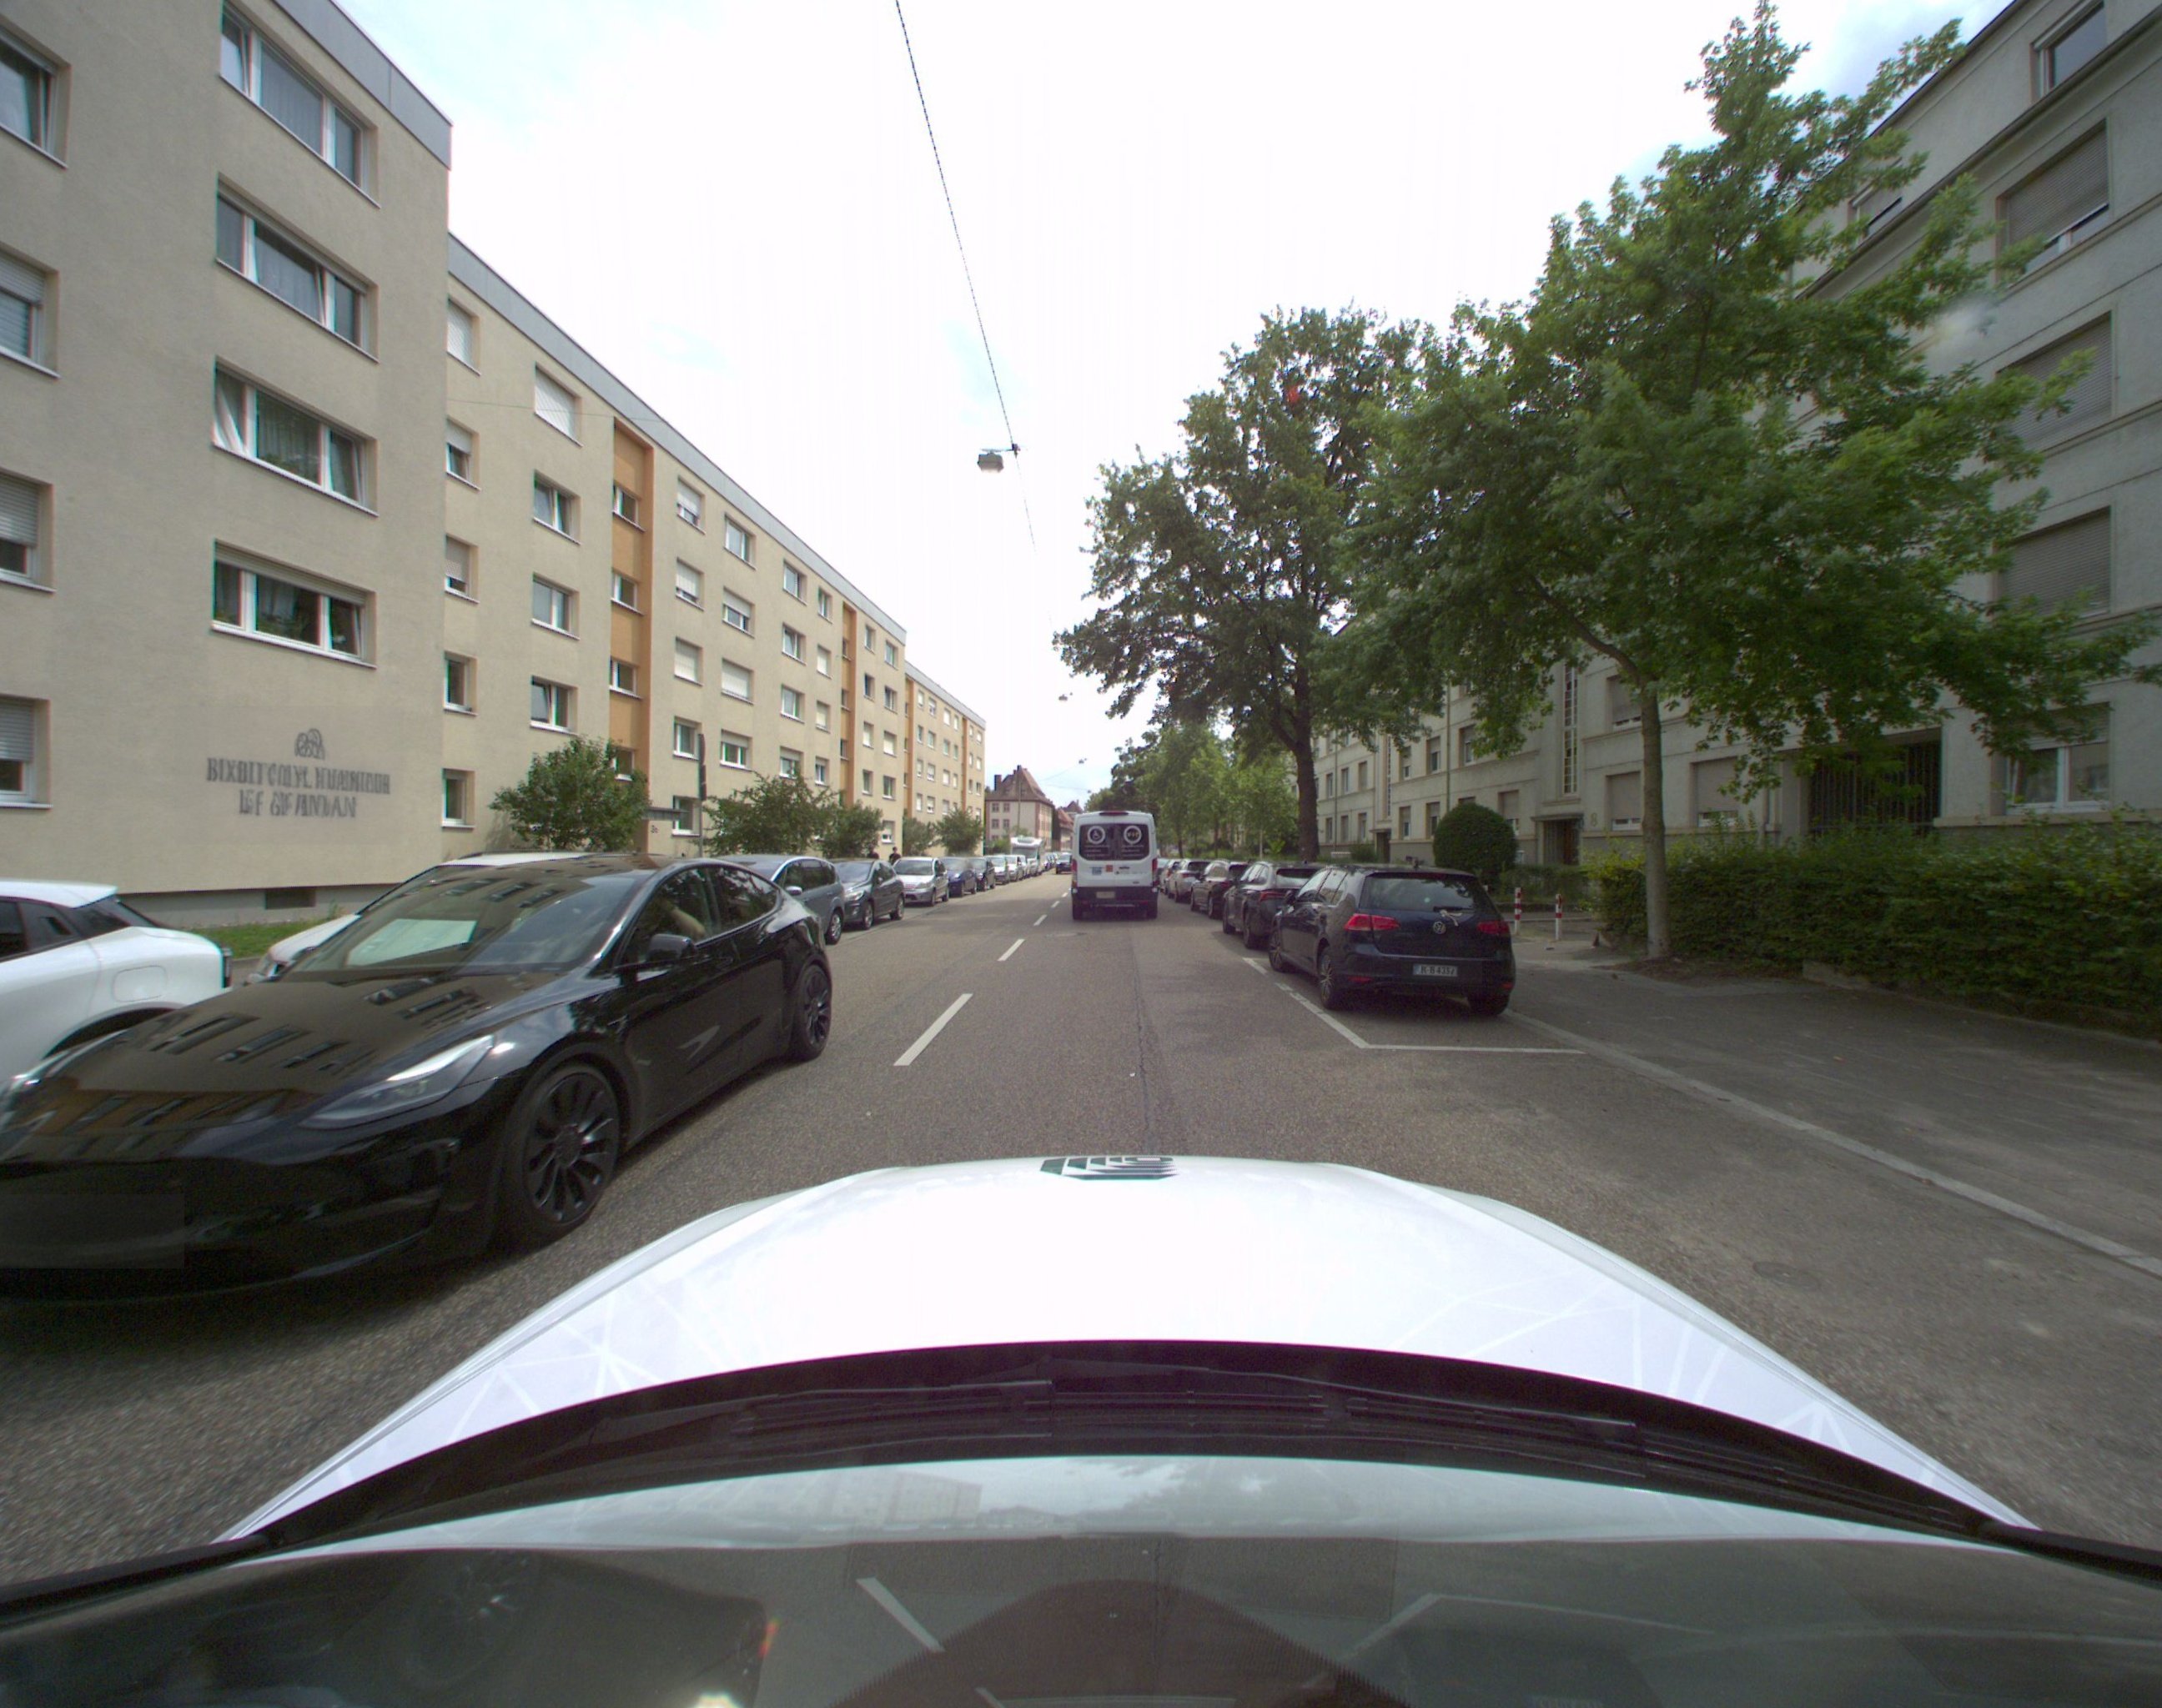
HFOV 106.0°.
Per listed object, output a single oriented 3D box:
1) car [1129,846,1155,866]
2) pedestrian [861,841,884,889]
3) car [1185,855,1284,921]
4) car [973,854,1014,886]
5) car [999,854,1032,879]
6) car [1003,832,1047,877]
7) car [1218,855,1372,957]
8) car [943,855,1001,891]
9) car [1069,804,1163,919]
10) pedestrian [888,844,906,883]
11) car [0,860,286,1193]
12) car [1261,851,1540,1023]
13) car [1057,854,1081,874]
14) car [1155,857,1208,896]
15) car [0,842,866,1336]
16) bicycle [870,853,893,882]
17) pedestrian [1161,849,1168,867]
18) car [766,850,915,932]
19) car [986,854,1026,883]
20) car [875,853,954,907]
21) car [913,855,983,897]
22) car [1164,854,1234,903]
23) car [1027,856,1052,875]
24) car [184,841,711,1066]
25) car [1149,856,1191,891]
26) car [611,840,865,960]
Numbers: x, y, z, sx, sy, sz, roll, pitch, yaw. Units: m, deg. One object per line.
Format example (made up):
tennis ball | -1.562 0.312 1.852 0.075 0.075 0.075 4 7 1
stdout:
car | 5.602 0.202 75.107 1.921 1.661 5.323 3 0 0
pedestrian | -8.161 0.423 31.860 0.617 1.813 0.899 1 0 -1
car | 3.875 0.792 21.272 1.691 1.469 4.754 2 0 0
car | -4.624 0.820 43.448 1.717 1.539 4.005 0 1 0
car | -4.274 0.786 53.855 1.682 1.579 4.595 2 0 1
car | -4.063 0.041 60.795 2.501 3.024 7.398 2 0 1
car | 3.576 0.785 14.463 1.690 1.469 4.562 2 0 2
car | -4.867 0.829 36.898 1.810 1.483 4.119 2 0 3
car | 0.777 0.184 20.409 2.064 2.540 4.634 0 -1 0
pedestrian | -8.549 0.446 37.841 0.618 1.813 0.803 0 0 -1
car | -5.831 0.803 3.055 1.703 1.473 3.989 2 0 0
car | 3.286 0.734 9.268 1.690 1.469 4.104 2 0 2
car | -0.940 0.778 65.133 1.812 1.585 4.437 -1 0 1
car | 4.011 0.878 32.881 1.664 1.400 3.852 3 0 1
car | -2.973 0.756 4.882 1.944 1.521 4.615 -2 0 2
bicycle | -10.085 0.654 41.212 0.459 1.393 2.133 1 1 6
pedestrian | 8.435 0.437 82.267 0.527 1.828 0.517 0 0 -41
car | -5.343 0.754 18.720 1.935 1.613 4.304 2 0 2
car | -4.410 0.815 48.621 1.748 1.579 4.571 2 0 2
car | -5.298 0.793 26.334 1.664 1.561 3.852 2 0 1
car | -5.073 0.813 31.575 1.810 1.483 3.888 2 0 4
car | 3.875 0.749 27.461 1.691 1.469 4.718 2 0 1
car | -3.697 1.041 73.567 1.879 1.579 5.220 2 0 1
car | -5.722 0.736 8.282 1.691 1.613 4.479 2 0 2
car | 4.119 0.845 38.115 1.771 1.469 4.620 2 0 5
car | -5.441 0.647 13.805 1.934 1.613 4.866 2 0 3
